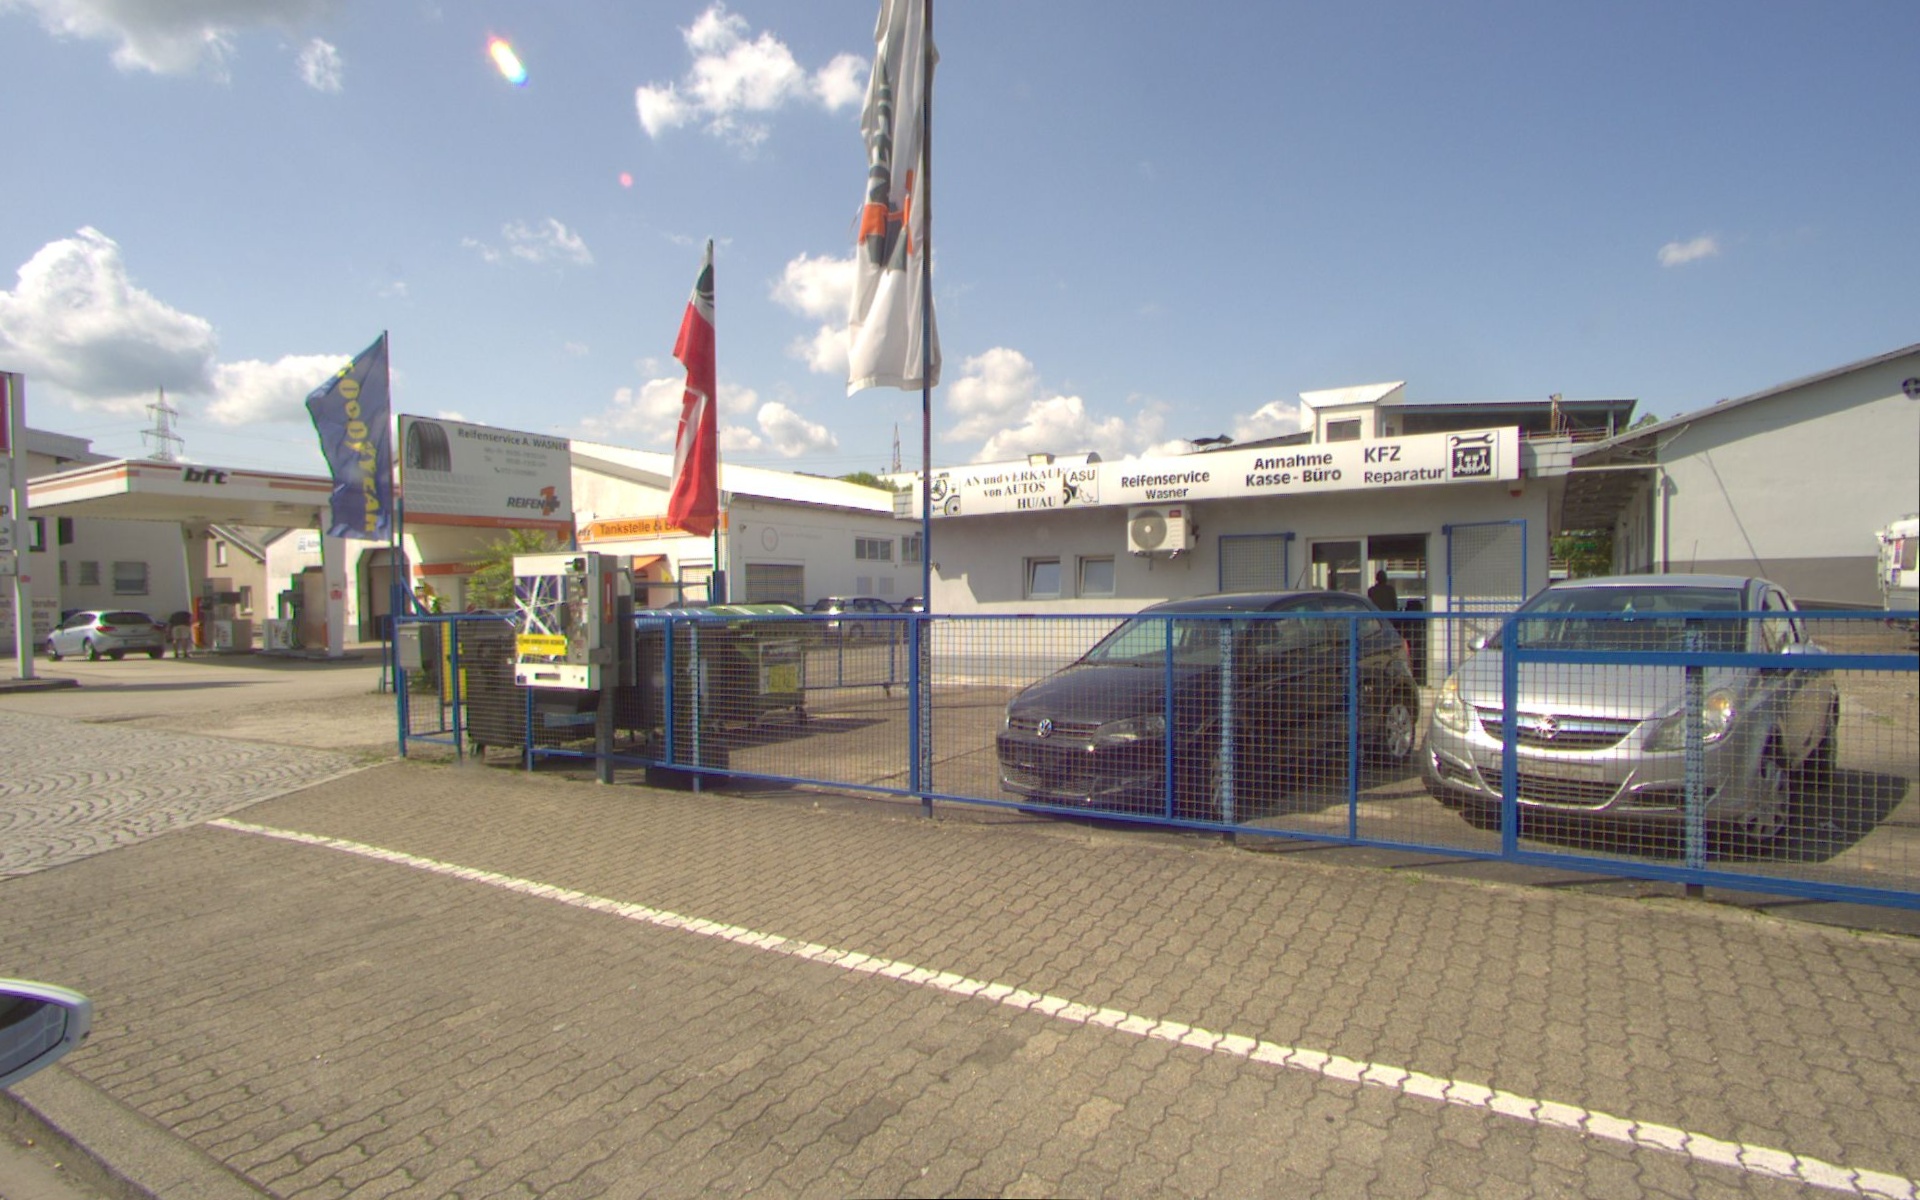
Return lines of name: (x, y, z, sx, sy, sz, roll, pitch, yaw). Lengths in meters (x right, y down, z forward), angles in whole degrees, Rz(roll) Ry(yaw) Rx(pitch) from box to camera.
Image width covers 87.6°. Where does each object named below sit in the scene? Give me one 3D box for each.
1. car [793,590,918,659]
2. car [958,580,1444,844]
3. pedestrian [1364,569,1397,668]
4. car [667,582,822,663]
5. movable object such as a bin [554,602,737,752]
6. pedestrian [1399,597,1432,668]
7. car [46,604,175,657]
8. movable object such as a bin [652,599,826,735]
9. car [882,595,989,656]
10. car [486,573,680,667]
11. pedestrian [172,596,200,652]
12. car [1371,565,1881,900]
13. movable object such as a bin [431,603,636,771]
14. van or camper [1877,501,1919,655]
car: (-3.264, 0.722, 31.987, 1.971, 2.040, 3.979, 0, 0, 32)
car: (2.014, 0.621, 7.648, 3.962, 1.499, 1.705, -1, 1, -43)
pedestrian: (7.386, 0.320, 17.577, 0.480, 1.710, 0.499, 0, 1, 30)
car: (-5.836, 0.564, 27.565, 1.971, 2.040, 3.979, 0, 0, 32)
movable object such as a bin: (-3.371, 0.769, 10.785, 1.434, 1.473, 1.224, 0, 1, 31)
pedestrian: (7.979, 0.557, 17.525, 0.480, 1.229, 0.499, 0, 1, 30)
car: (-25.833, 0.883, 30.435, 3.950, 1.499, 1.829, -1, 1, 31)
movable object such as a bin: (-2.606, 0.737, 11.899, 1.433, 1.473, 1.427, 0, 1, 31)
car: (-0.804, 0.858, 35.877, 1.971, 2.040, 3.979, 0, 0, 32)
car: (-8.913, 0.430, 23.982, 1.971, 2.040, 3.979, 0, 0, 32)
pedestrian: (-23.739, 0.723, 30.716, 0.628, 1.705, 0.618, -1, 1, -36)
car: (4.502, 0.582, 6.511, 4.104, 1.499, 1.787, -1, 0, -42)
movable object such as a bin: (-4.132, 0.778, 9.745, 1.434, 1.473, 1.224, 0, 1, 31)
van or camper: (21.347, -0.463, 19.320, 4.983, 3.002, 2.276, 0, 1, 31)
